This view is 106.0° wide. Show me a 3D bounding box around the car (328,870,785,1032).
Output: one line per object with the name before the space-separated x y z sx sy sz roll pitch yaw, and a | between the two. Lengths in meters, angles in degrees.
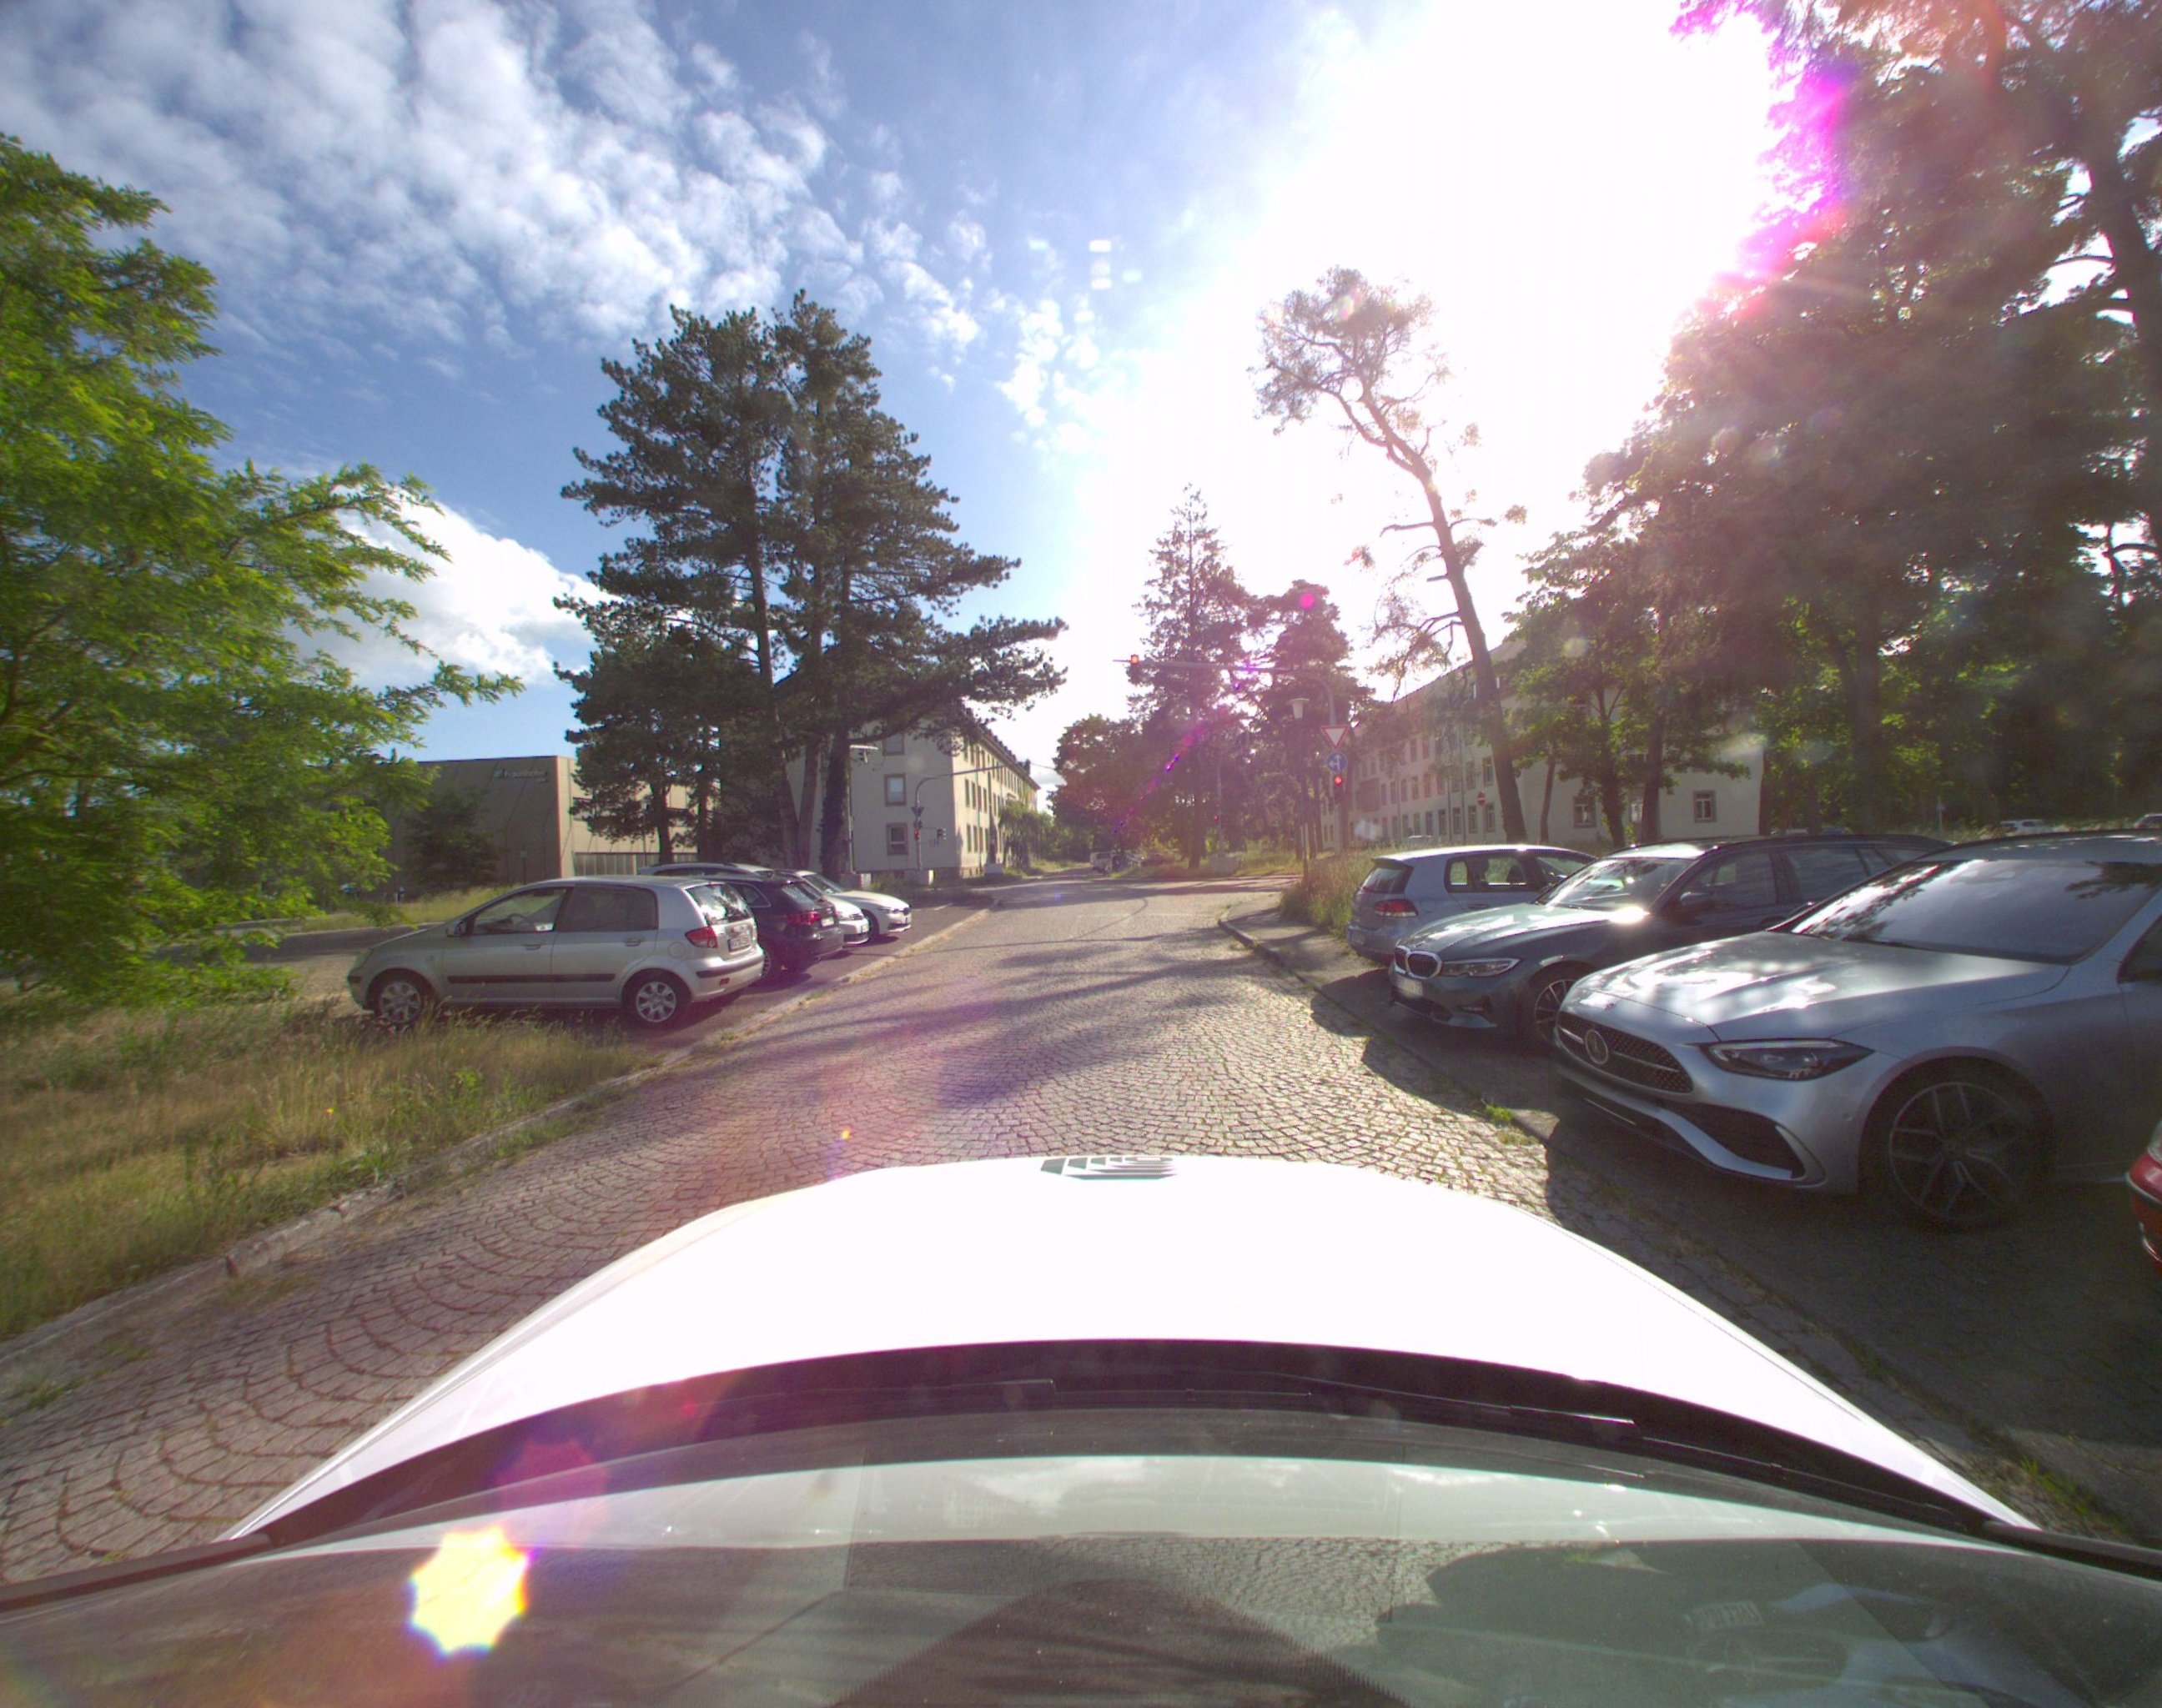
car | -5.330 0.945 8.658 3.735 1.487 1.645 0 0 -2

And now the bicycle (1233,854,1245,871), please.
bicycle | 8.925 0.471 46.052 0.300 0.961 1.585 0 -1 -1

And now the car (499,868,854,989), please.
car | -5.390 0.961 11.278 3.976 1.480 1.802 0 0 -2

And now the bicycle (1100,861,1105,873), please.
bicycle | 1.778 1.096 67.989 0.415 1.010 1.484 0 -1 3

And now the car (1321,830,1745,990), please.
car | 4.947 0.582 9.318 3.867 1.415 1.637 -4 0 2

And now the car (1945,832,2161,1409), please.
car | 4.762 0.565 1.665 4.111 1.449 1.637 -4 0 2

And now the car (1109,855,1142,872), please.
car | 3.932 0.831 72.763 2.775 1.467 1.669 0 -1 -3

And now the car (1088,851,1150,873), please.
car | 3.544 0.709 76.269 5.533 2.014 1.989 0 -1 -17

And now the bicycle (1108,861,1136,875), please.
bicycle | 3.009 1.032 60.012 2.002 1.010 0.631 0 -1 -6

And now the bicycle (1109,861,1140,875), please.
bicycle | 3.116 1.011 58.295 2.106 1.010 0.619 0 -1 -6

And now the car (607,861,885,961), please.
car | -5.720 0.940 14.318 4.069 1.593 1.884 0 0 -2

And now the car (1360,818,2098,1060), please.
car | 4.822 0.604 6.569 4.542 1.415 1.637 -4 0 2

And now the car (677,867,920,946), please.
car | -5.648 1.022 16.686 4.321 1.468 1.830 0 0 -2

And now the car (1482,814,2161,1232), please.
car | 4.631 0.598 3.973 4.415 1.415 1.782 -4 0 2

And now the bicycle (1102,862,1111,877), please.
bicycle | 1.701 1.030 54.700 0.466 1.010 1.585 0 -1 -2
